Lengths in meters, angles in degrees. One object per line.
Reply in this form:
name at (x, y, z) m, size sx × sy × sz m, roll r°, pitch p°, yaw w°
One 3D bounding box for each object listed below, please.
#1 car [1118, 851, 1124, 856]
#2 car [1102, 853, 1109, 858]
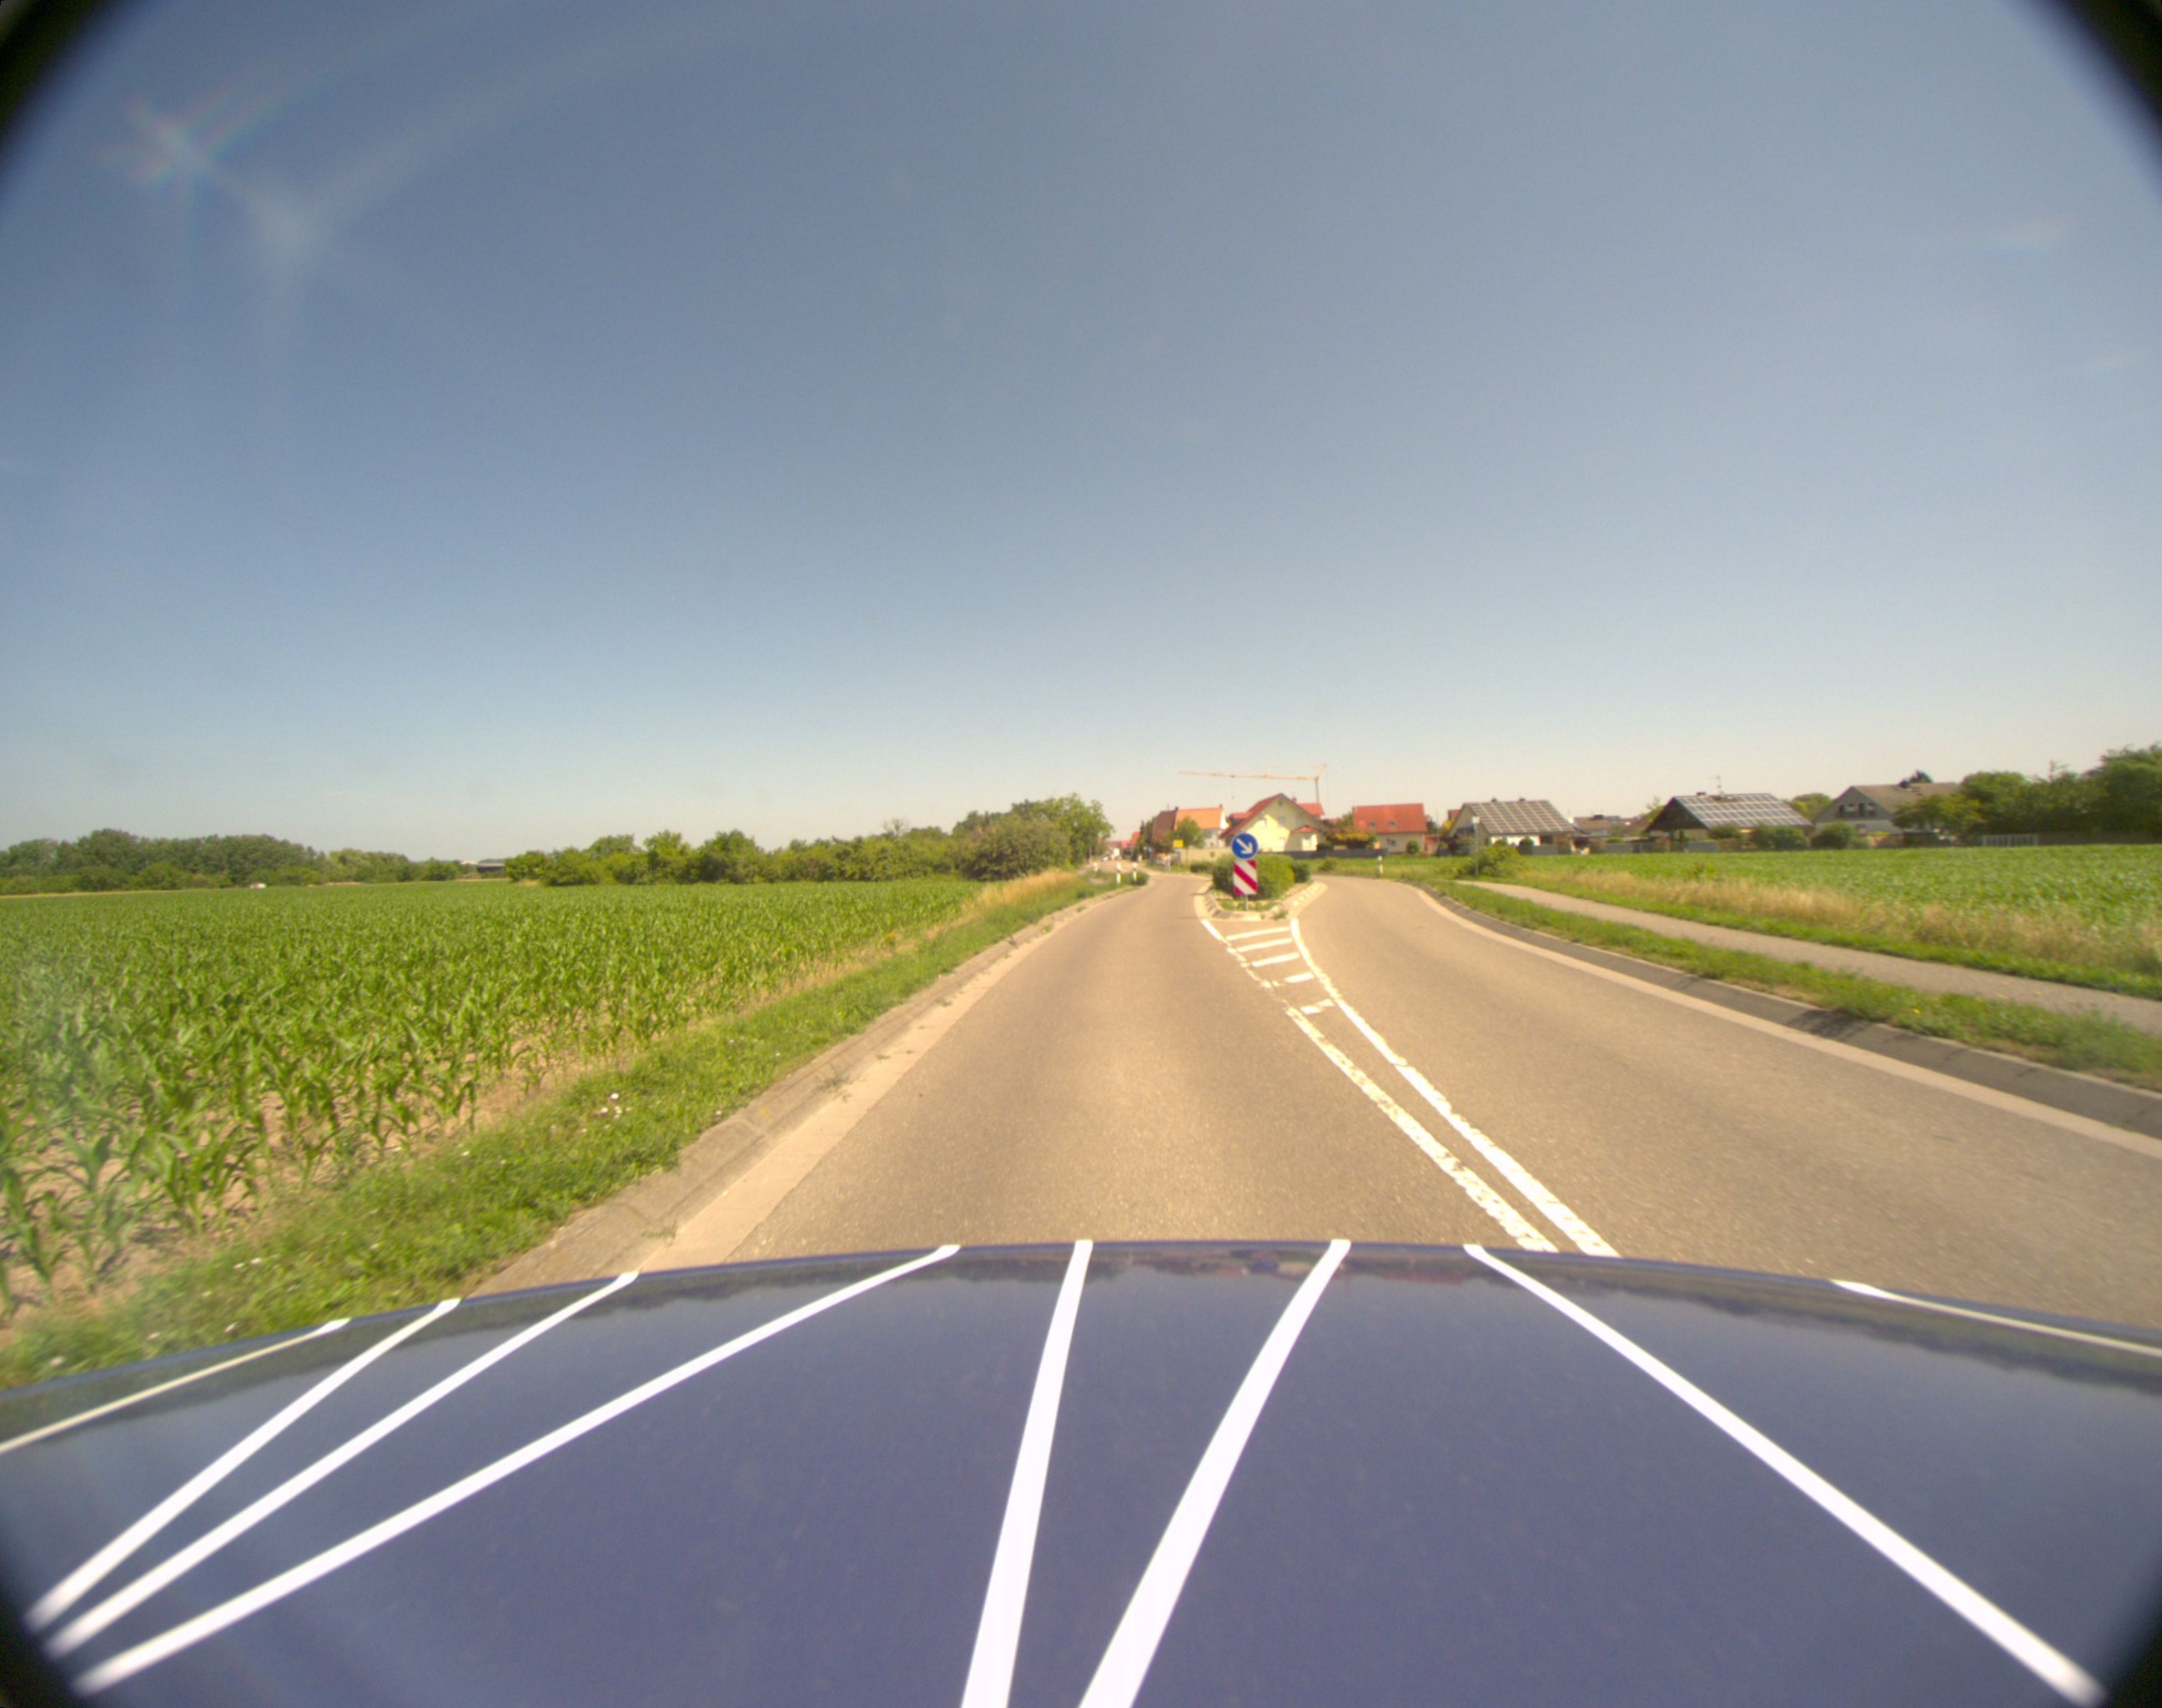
car at (11.950, -0.065, 226.590) m, size 1.733 × 1.379 × 3.532 m, roll -2°, pitch 0°, yaw 2°
car at (6.908, 0.519, 212.748) m, size 1.733 × 1.379 × 3.532 m, roll -2°, pitch 0°, yaw 2°
